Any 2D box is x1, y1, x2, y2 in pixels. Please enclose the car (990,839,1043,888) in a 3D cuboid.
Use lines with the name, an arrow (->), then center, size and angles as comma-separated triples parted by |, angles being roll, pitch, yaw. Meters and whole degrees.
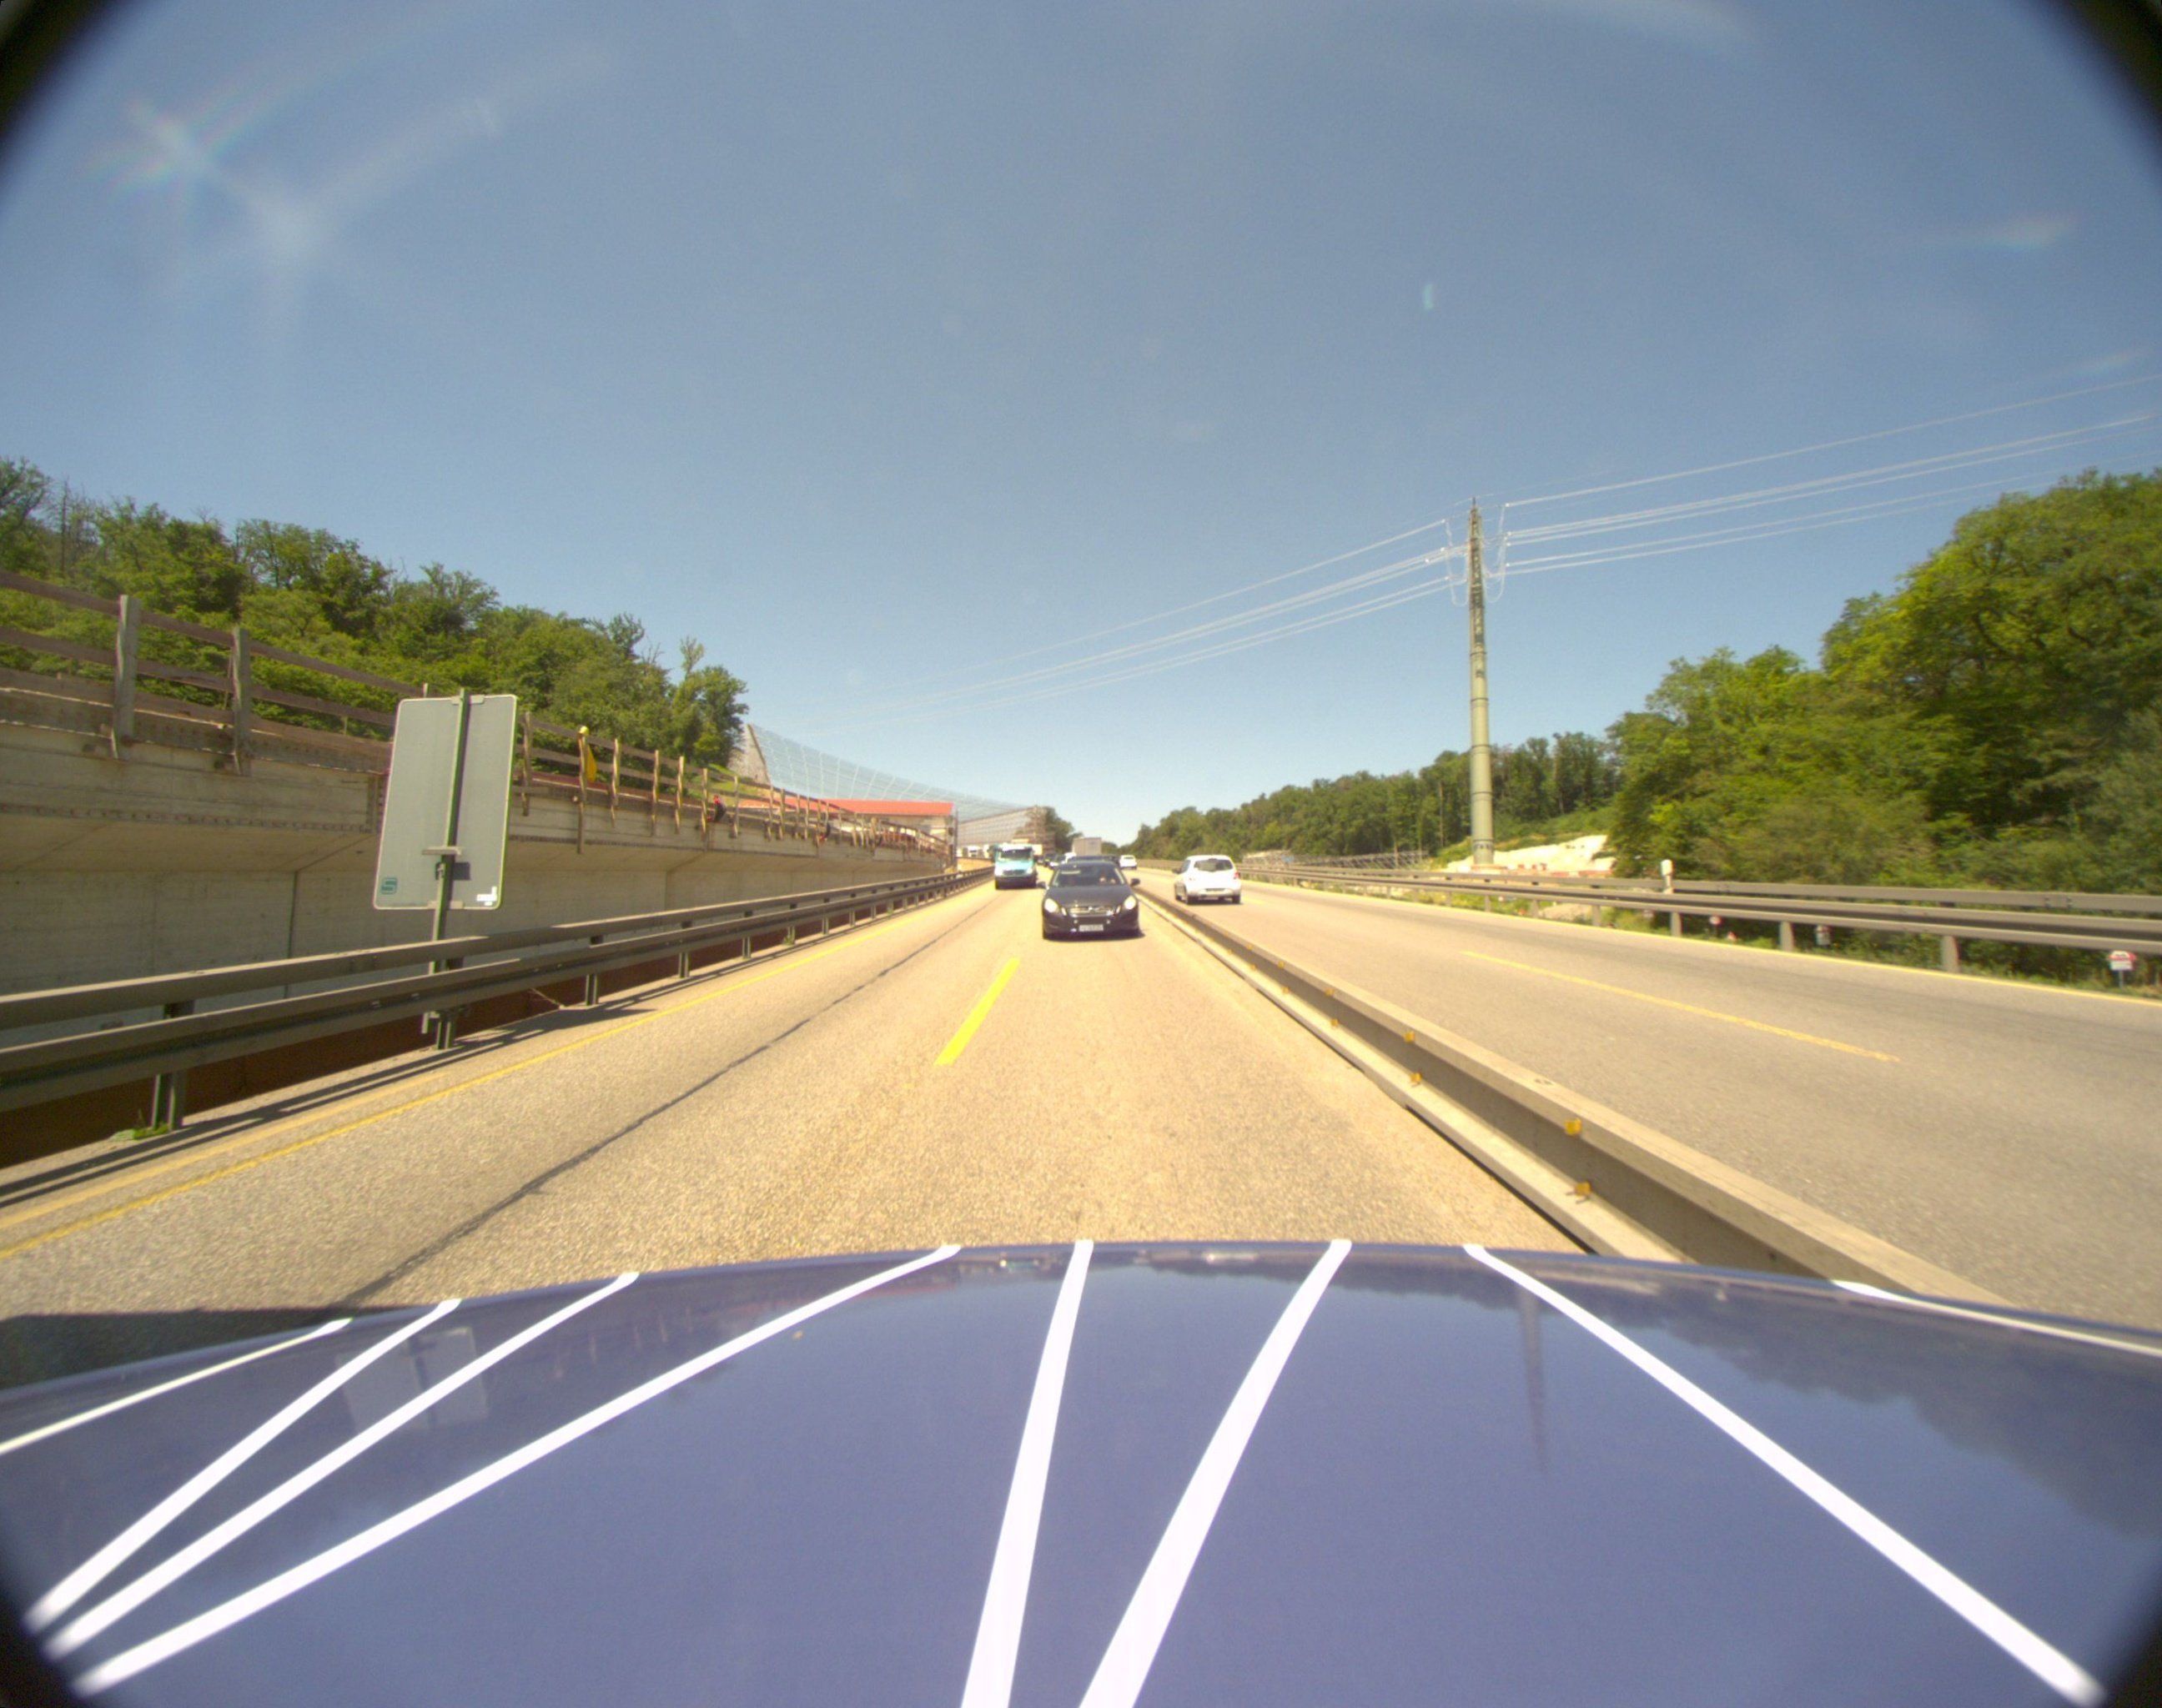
car -> -3.260, 0.443, 40.006 | 2.217, 2.312, 6.900 | -1, 1, -1

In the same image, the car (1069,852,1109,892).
car -> 0.399, 0.713, 32.577 | 1.519, 1.543, 3.861 | -2, 1, 3

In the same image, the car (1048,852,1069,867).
car -> -2.150, 0.503, 72.045 | 1.646, 1.366, 3.345 | -2, 1, 3

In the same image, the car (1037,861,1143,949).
car -> 0.138, 0.919, 15.722 | 1.844, 1.475, 4.562 | -2, 0, -1

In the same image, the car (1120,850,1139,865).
car -> 4.991, 0.339, 78.516 | 1.704, 1.484, 3.999 | -1, 1, -1

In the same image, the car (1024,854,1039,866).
car -> -6.219, 0.704, 94.649 | 1.648, 1.366, 3.342 | -3, 1, -6

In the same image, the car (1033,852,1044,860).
car -> -7.428, 0.346, 132.077 | 1.648, 1.366, 3.342 | -3, 1, -6

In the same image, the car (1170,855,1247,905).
car -> 3.915, 0.761, 23.875 | 1.751, 1.418, 3.709 | -1, 0, 0

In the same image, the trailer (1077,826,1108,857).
trailer -> 1.666, -1.856, 117.486 | 3.499, 4.460, 12.919 | -3, 1, -4

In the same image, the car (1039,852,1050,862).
car -> -5.514, 0.450, 115.059 | 1.647, 1.366, 3.344 | -3, 1, -2

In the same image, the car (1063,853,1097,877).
car -> -0.092, 0.758, 55.921 | 2.298, 1.601, 4.663 | -3, 1, -2

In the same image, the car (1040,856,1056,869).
car -> -3.716, 0.935, 85.014 | 1.647, 1.366, 3.343 | -3, 1, -3

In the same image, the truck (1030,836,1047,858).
truck -> -11.341, -1.824, 201.797 | 3.567, 5.334, 16.082 | -3, 1, -6

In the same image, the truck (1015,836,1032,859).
truck -> -9.351, -1.005, 122.308 | 2.472, 3.464, 9.863 | -3, 1, -5

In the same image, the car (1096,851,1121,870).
car -> 2.397, 0.554, 66.702 | 1.922, 1.586, 4.527 | -1, 1, 0

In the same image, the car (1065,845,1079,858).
car -> -1.388, -0.419, 111.034 | 1.865, 1.762, 4.231 | -3, 1, -3

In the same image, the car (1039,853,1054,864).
car -> -4.587, 0.571, 100.338 | 1.648, 1.366, 3.342 | -3, 1, -6
